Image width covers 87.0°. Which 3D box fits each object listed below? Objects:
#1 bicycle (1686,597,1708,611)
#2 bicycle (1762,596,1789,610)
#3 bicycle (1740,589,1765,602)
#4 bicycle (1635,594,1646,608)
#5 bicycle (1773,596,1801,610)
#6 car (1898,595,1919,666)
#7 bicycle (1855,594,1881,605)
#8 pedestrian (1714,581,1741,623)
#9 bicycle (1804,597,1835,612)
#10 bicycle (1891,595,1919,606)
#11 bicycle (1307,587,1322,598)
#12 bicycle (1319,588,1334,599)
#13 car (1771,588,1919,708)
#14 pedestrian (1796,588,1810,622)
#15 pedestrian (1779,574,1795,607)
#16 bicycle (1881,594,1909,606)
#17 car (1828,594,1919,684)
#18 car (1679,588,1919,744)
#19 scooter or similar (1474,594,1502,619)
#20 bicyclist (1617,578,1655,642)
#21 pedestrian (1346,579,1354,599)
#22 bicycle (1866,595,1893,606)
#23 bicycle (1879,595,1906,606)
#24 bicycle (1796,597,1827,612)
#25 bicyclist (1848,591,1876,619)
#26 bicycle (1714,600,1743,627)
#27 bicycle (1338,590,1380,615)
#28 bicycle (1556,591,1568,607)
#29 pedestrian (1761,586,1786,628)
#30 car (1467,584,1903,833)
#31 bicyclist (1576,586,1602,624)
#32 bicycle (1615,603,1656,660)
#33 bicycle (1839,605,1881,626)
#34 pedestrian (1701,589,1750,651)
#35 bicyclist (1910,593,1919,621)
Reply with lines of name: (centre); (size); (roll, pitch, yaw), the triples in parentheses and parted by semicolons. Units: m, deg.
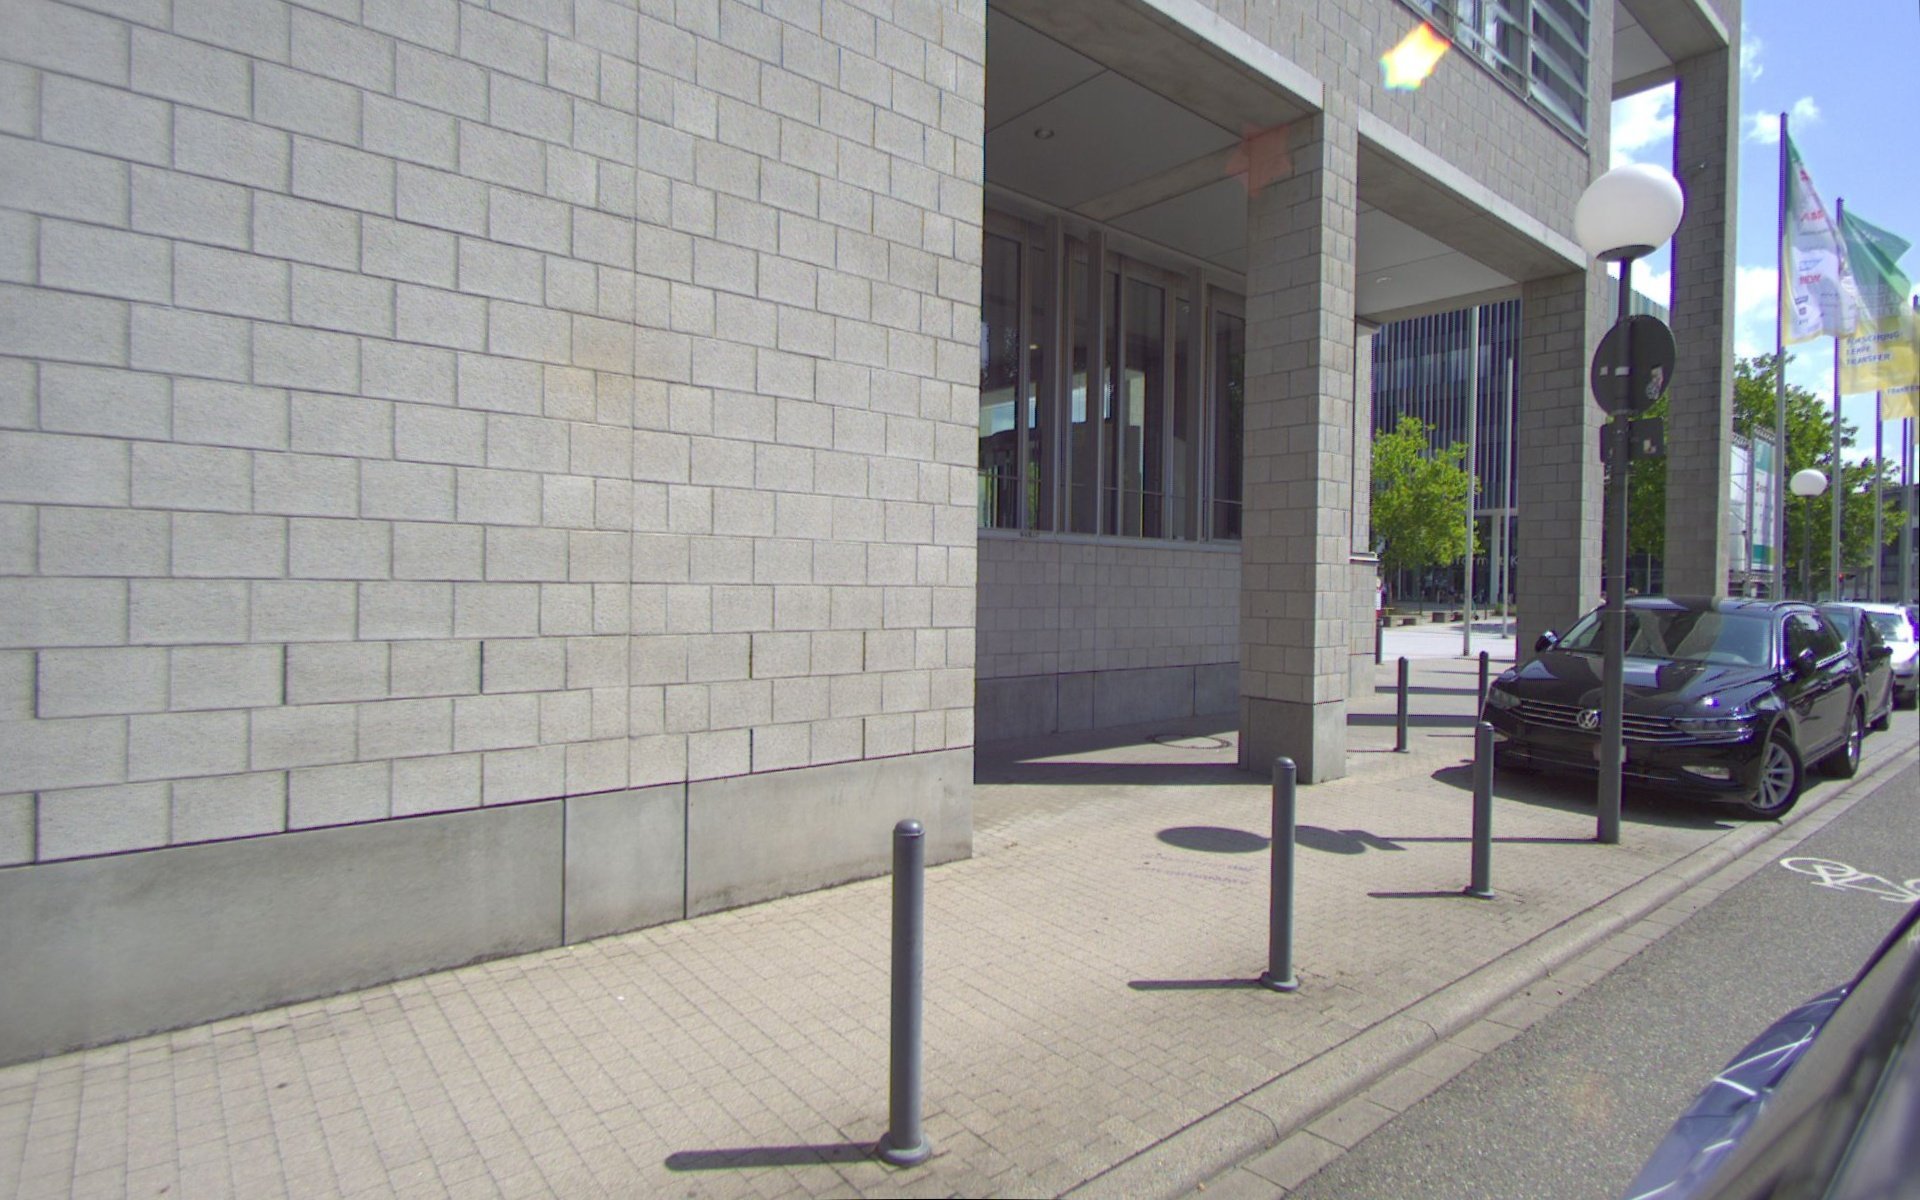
bicycle: (56.428, 0.289, 77.477); (0.520, 0.967, 1.771); (-2, 2, 7)
bicycle: (61.422, 0.219, 76.213); (0.519, 0.967, 1.775); (0, 2, -2)
bicycle: (59.666, -0.362, 76.207); (0.519, 0.967, 1.772); (0, 2, 4)
bicycle: (52.765, 0.078, 78.481); (0.524, 0.967, 1.755); (1, 2, 30)
bicycle: (62.161, 0.225, 76.081); (0.519, 0.967, 1.775); (0, 2, -2)
car: (22.725, 0.713, 22.876); (4.072, 1.515, 1.618); (0, 3, -39)
bicycle: (86.524, -0.014, 96.436); (1.753, 0.967, 0.525); (1, 3, 23)
pedestrian: (34.842, 0.080, 45.942); (0.853, 1.842, 1.158); (2, 3, 43)
bicycle: (58.013, 0.291, 68.322); (0.519, 0.967, 1.775); (0, 2, -2)
bicycle: (84.794, 0.051, 90.777); (1.753, 0.967, 0.525); (1, 3, 23)
bicycle: (33.877, -0.701, 96.746); (1.514, 0.967, 0.374); (-1, 2, -25)
bicycle: (34.783, -0.636, 95.947); (1.514, 0.967, 0.374); (-1, 2, -25)
car: (14.146, 0.642, 15.753); (4.490, 1.548, 1.721); (0, 3, -43)
pedestrian: (48.015, 0.278, 57.654); (0.573, 1.864, 0.410); (1, 2, 41)
pedestrian: (47.493, -0.536, 58.110); (0.629, 1.864, 0.474); (1, 2, 36)
bicycle: (85.369, -0.005, 92.406); (1.753, 0.967, 0.525); (1, 3, 23)
car: (18.035, 0.682, 19.197); (3.929, 1.548, 1.723); (0, 2, -40)
car: (9.976, 0.641, 11.908); (3.937, 1.515, 1.617); (0, 1, -42)
scooter or similar: (25.550, 0.308, 48.989); (0.347, 1.180, 1.191); (-2, 3, -39)
bicyclist: (14.442, 0.211, 21.635); (0.603, 1.337, 0.734); (2, 0, 31)
pedestrian: (37.078, -1.066, 96.306); (0.552, 1.864, 0.553); (1, 2, 43)
bicycle: (85.952, 0.002, 94.606); (1.753, 0.967, 0.525); (1, 3, 23)
bicycle: (85.518, 0.015, 92.830); (1.753, 0.967, 0.525); (1, 3, 23)
bicycle: (57.432, 0.287, 68.253); (0.519, 0.967, 1.775); (0, 2, -2)
bicyclist: (52.190, 0.288, 58.568); (0.988, 1.636, 0.652); (1, 1, 22)
bicycle: (34.870, 0.601, 45.887); (0.815, 1.085, 1.862); (4, 6, 43)
bicycle: (21.026, 0.116, 53.399); (0.784, 1.198, 2.034); (-1, 2, -28)
bicycle: (47.407, -0.068, 79.686); (1.520, 1.201, 0.373); (-2, 4, -41)
pedestrian: (36.153, 0.315, 45.002); (0.598, 1.823, 0.597); (2, -1, -16)
car: (6.065, 0.637, 8.252); (4.440, 1.483, 1.870); (0, 1, -40)
bicyclist: (26.741, 0.203, 43.010); (0.863, 1.589, 0.682); (2, 0, -40)
bicycle: (14.416, 0.655, 21.621); (0.603, 1.152, 1.571); (2, 0, 30)
bicycle: (52.113, 0.899, 58.599); (1.652, 1.138, 0.690); (1, 1, 23)
pedestrian: (22.290, 0.570, 29.461); (0.984, 1.762, 0.920); (0, 1, -40)
bicyclist: (54.535, 0.383, 57.393); (0.778, 1.557, 0.651); (1, 1, 26)
